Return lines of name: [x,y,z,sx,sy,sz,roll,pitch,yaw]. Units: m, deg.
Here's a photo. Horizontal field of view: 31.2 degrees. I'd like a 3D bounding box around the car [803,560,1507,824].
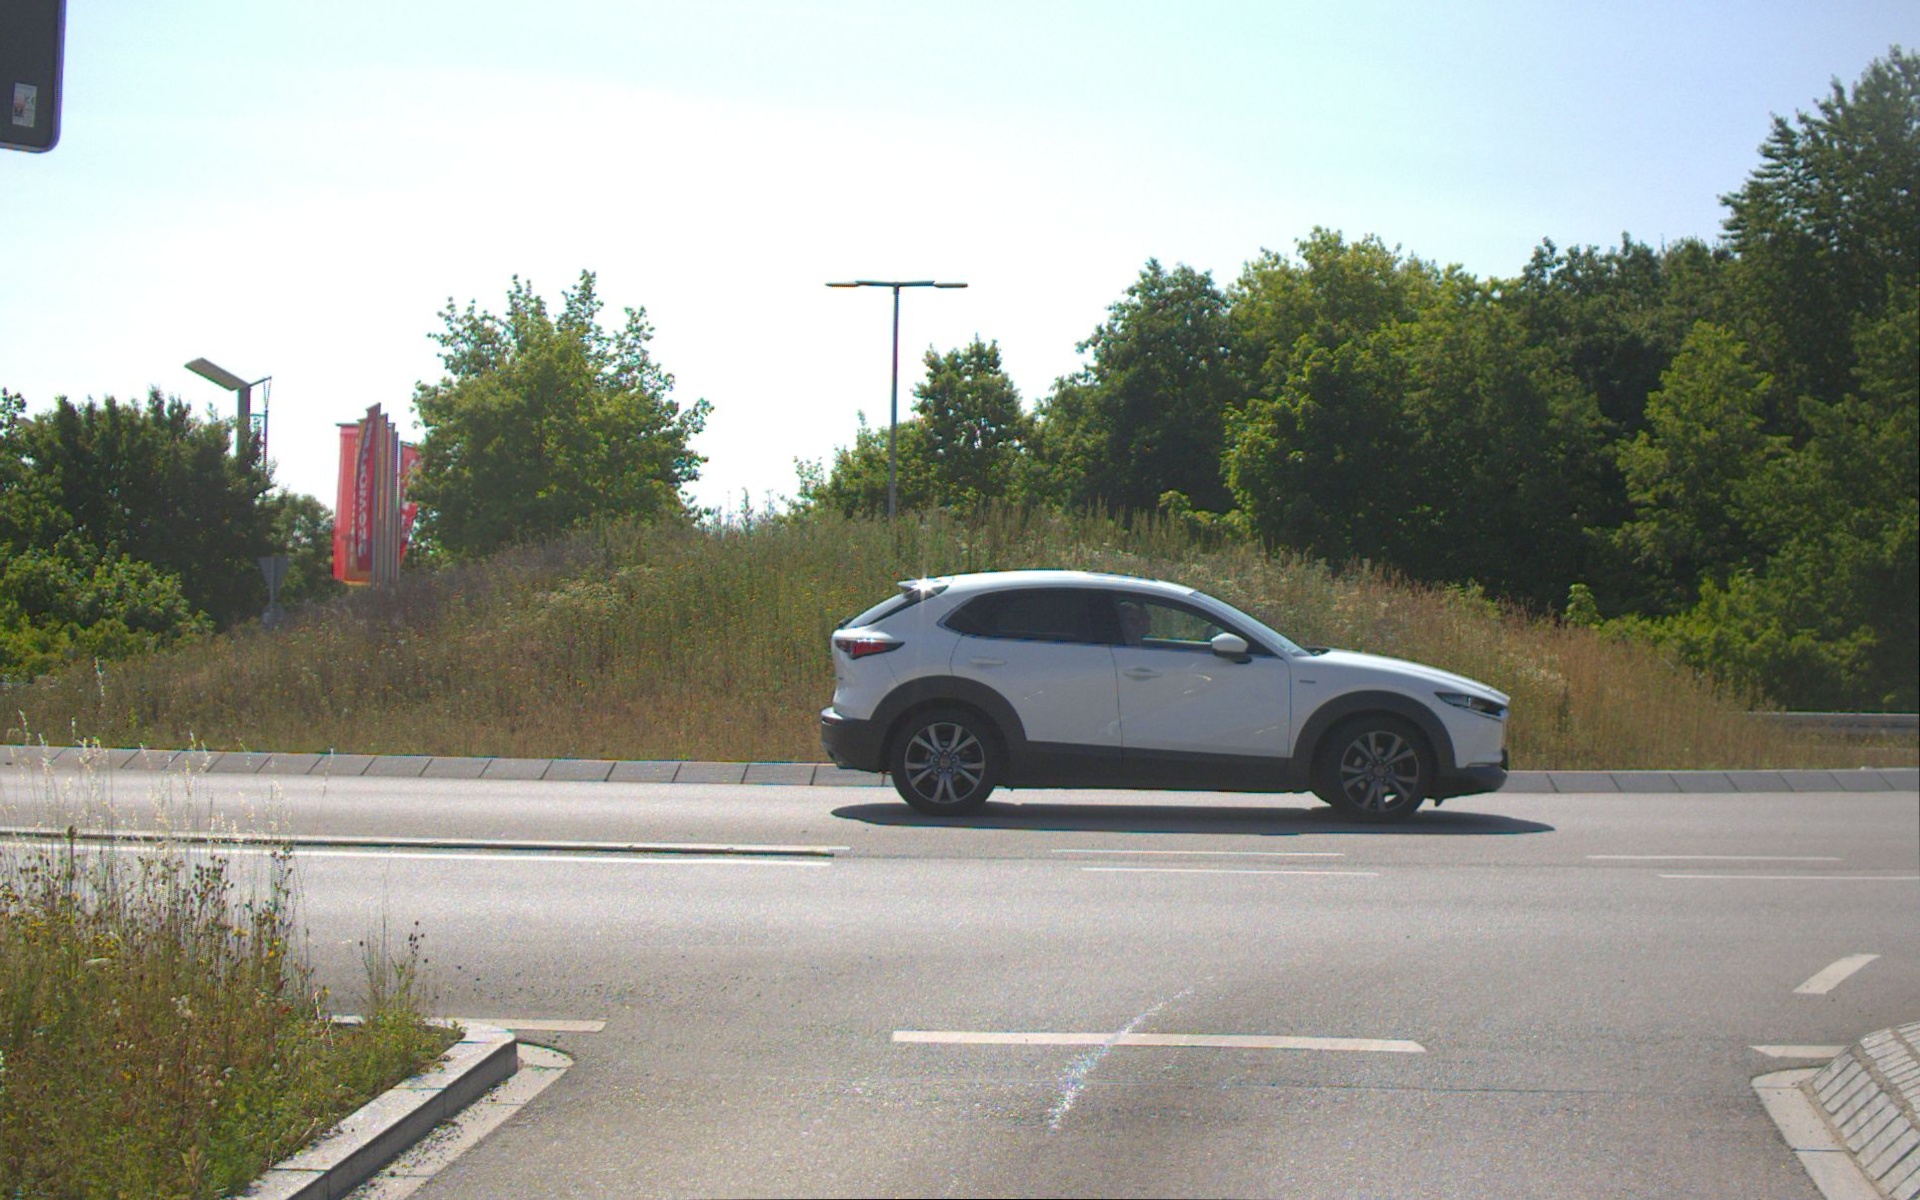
car: [1.250,0.562,21.928,4.274,1.525,1.791,1,0,5]
